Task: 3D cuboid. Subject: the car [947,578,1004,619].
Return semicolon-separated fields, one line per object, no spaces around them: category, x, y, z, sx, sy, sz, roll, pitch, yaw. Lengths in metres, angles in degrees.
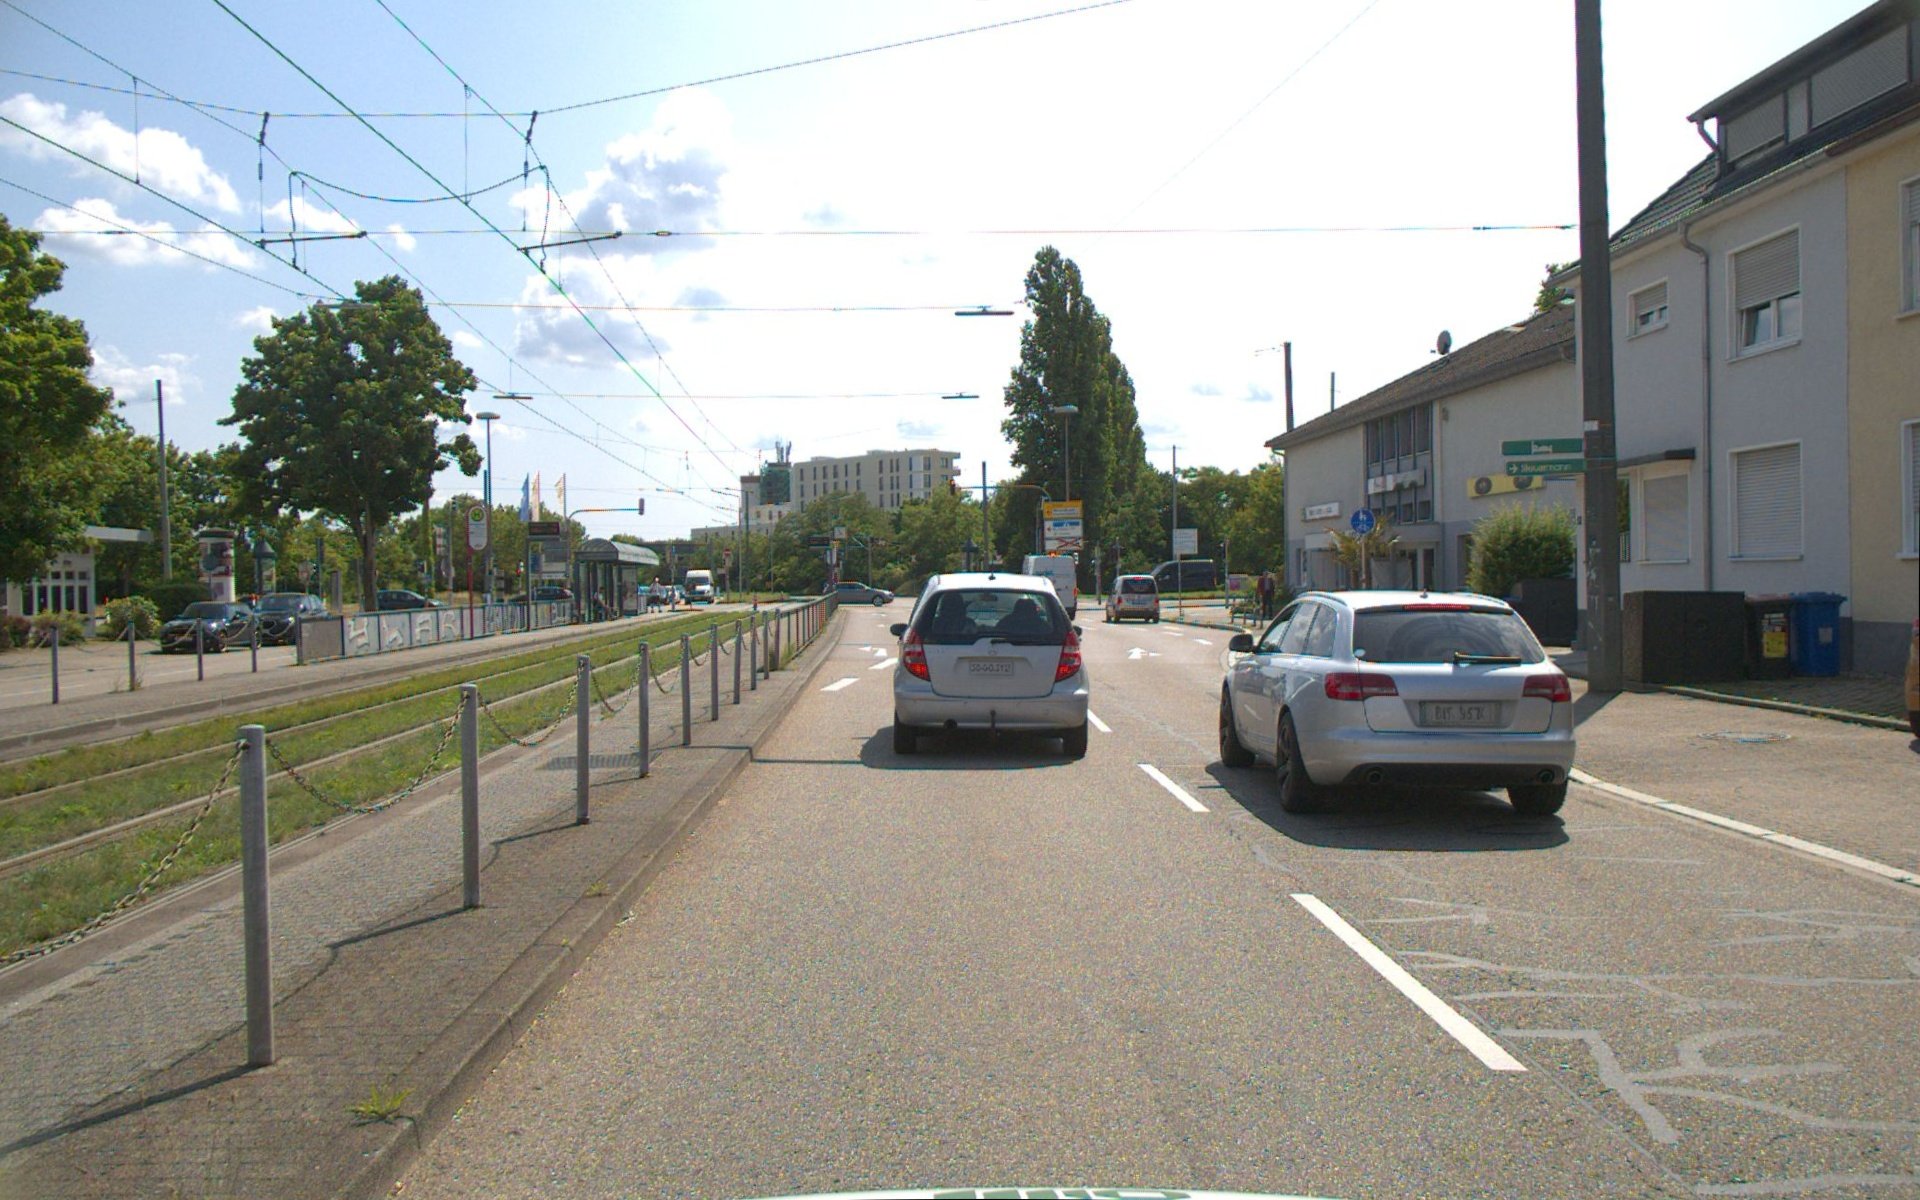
car;0.533;-0.082;60.528;1.832;1.444;4.097;0;1;-4

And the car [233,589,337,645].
car;-22.019;0.522;54.144;2.022;1.642;4.744;-2;1;-9

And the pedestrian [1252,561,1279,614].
pedestrian;10.752;-0.432;58.150;0.707;1.813;0.703;-4;1;-1

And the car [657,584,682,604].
car;-23.657;-0.493;134.622;1.768;1.568;4.158;0;0;-7

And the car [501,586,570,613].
car;-29.556;-0.044;115.285;4.264;1.769;2.000;-1;1;0

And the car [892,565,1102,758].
car;0.302;0.485;15.983;1.750;1.604;4.094;1;1;0

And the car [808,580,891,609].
car;-6.512;-0.315;97.708;4.763;1.689;2.000;0;0;-1

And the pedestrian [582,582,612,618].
pedestrian;-14.139;0.003;64.429;1.037;1.400;0.860;0;0;-4

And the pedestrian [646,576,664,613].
pedestrian;-15.138;-0.292;82.056;0.794;1.826;0.705;-1;1;-17

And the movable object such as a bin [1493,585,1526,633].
movable object such as a bin;11.172;0.177;33.645;0.432;0.951;0.549;-2;1;-8

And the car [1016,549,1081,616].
car;3.582;-0.731;67.914;2.000;2.602;5.227;-1;1;-4

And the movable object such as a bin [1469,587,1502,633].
movable object such as a bin;10.680;0.198;33.615;0.436;0.910;0.545;-2;1;-8

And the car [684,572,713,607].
car;-20.118;-0.812;127.339;1.955;2.651;4.873;0;0;-6

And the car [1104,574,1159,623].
car;6.579;-0.079;63.764;1.846;1.761;4.096;-2;0;3

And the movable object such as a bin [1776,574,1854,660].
movable object such as a bin;10.960;0.211;21.214;0.632;1.074;0.659;-1;1;-4

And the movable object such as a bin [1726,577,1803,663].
movable object such as a bin;10.273;0.246;21.132;0.625;1.066;0.684;-1;1;-4

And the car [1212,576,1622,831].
car;3.104;0.591;12.246;1.816;1.518;4.536;-1;1;0

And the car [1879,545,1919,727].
car;9.882;0.208;14.714;4.062;1.483;1.885;-4;3;-44

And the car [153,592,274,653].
car;-21.558;0.624;47.930;1.750;1.611;3.930;-1;1;-2

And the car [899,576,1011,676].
car;-0.081;0.374;27.795;1.703;1.518;4.630;-1;1;0

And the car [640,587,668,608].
car;-23.254;-0.220;125.789;1.860;1.568;3.723;0;0;-7
